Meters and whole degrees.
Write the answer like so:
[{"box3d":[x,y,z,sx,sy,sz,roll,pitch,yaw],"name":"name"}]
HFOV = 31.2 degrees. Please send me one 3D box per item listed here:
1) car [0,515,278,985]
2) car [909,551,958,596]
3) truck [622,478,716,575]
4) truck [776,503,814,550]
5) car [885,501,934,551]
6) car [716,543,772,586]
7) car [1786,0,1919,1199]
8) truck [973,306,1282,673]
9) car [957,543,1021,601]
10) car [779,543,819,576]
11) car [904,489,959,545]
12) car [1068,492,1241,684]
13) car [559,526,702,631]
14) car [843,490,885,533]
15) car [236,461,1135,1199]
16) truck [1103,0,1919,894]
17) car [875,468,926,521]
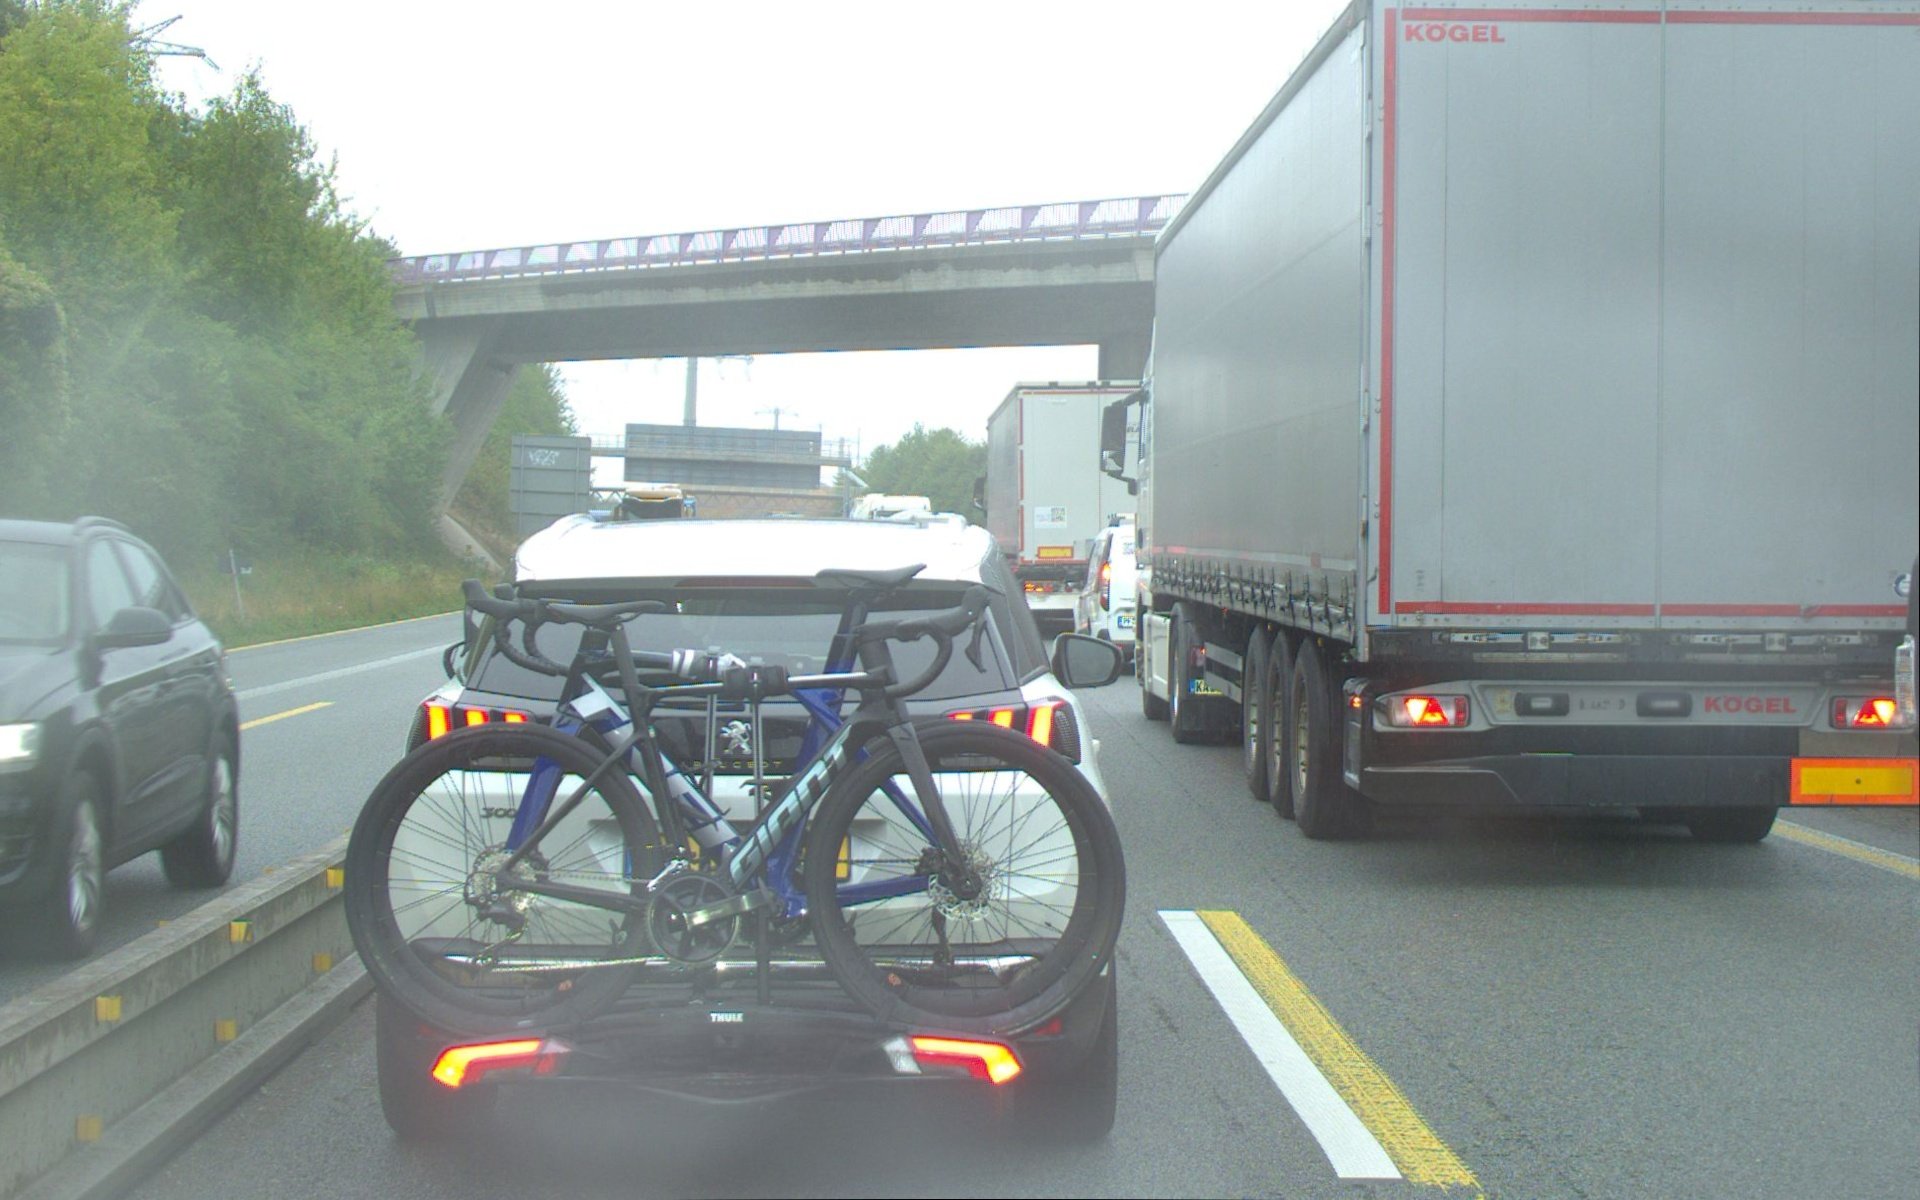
[{"box3d":[-3.918,0.468,13.363,1.810,1.554,3.990,1,1,-1],"name":"car"},{"box3d":[-0.907,-0.921,117.541,1.638,1.492,3.666,1,1,0],"name":"car"},{"box3d":[-11.414,-2.843,135.924,2.681,3.644,12.312,1,1,0],"name":"truck"},{"box3d":[-12.360,-5.483,258.813,2.535,3.341,12.051,1,1,-1],"name":"truck"},{"box3d":[-2.071,-3.051,142.119,1.993,2.007,4.000,1,1,0],"name":"car"},{"box3d":[-7.428,-1.211,118.579,1.779,1.438,4.328,1,1,-2],"name":"car"},{"box3d":[2.728,0.043,3.782,2.144,2.667,6.117,1,1,0],"name":"car"},{"box3d":[2.729,-1.824,63.646,4.743,5.654,20.376,1,1,1],"name":"truck"},{"box3d":[0.746,-0.751,91.513,1.638,1.492,3.666,1,1,0],"name":"car"},{"box3d":[-7.012,-1.752,149.563,1.686,1.404,3.930,1,1,-2],"name":"car"},{"box3d":[-1.069,-3.110,129.626,1.993,2.007,4.000,1,1,0],"name":"car"},{"box3d":[2.291,-0.160,41.492,1.670,2.173,4.535,1,1,-2],"name":"car"},{"box3d":[-4.904,-0.332,51.693,1.810,1.483,4.397,1,1,-1],"name":"car"},{"box3d":[-4.868,-4.475,174.132,1.993,2.119,4.527,1,1,0],"name":"car"},{"box3d":[-0.530,0.520,9.283,1.810,1.632,4.635,1,1,1],"name":"car"},{"box3d":[3.494,-1.743,24.105,3.979,5.654,20.376,1,1,0],"name":"truck"},{"box3d":[-2.663,-4.730,154.871,2.239,2.299,4.572,1,1,0],"name":"car"}]
